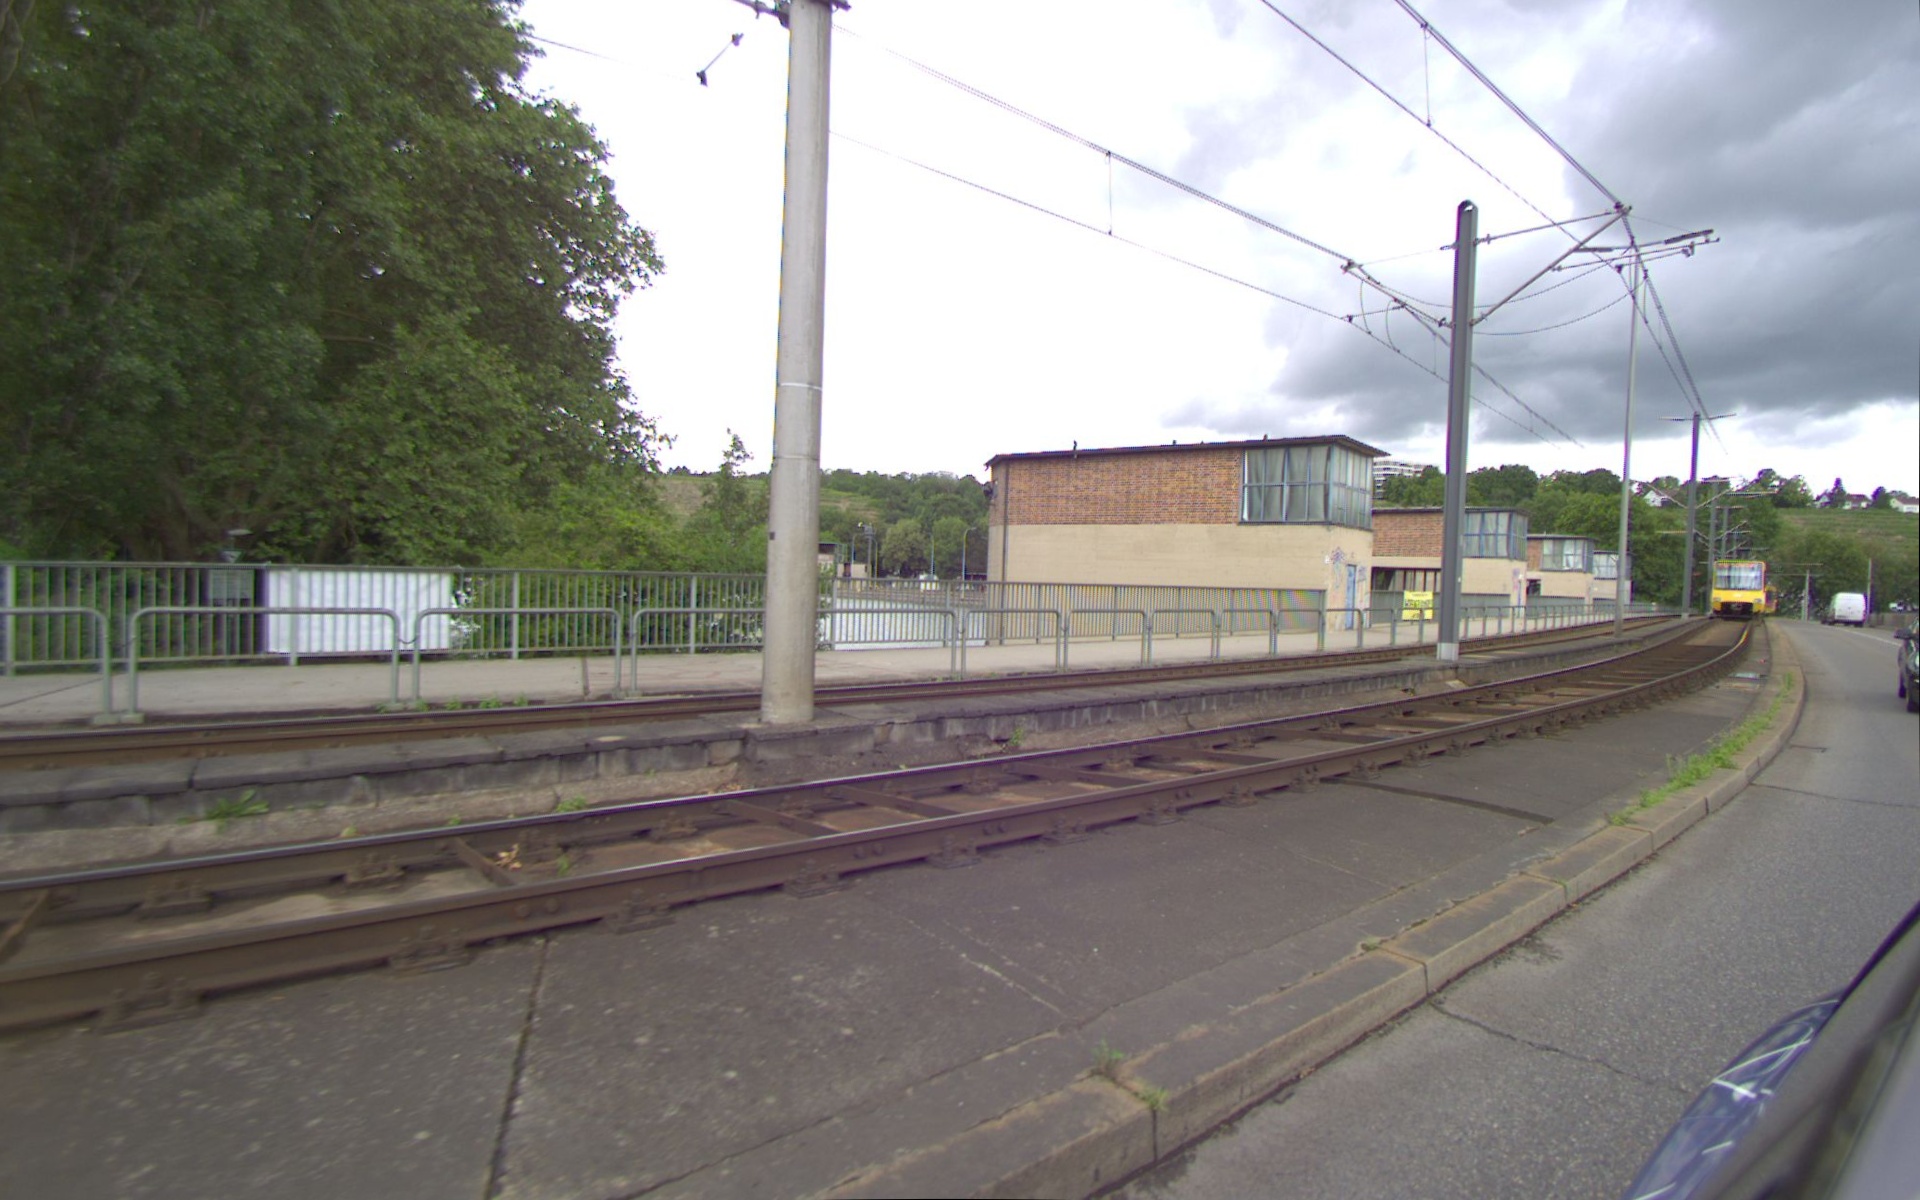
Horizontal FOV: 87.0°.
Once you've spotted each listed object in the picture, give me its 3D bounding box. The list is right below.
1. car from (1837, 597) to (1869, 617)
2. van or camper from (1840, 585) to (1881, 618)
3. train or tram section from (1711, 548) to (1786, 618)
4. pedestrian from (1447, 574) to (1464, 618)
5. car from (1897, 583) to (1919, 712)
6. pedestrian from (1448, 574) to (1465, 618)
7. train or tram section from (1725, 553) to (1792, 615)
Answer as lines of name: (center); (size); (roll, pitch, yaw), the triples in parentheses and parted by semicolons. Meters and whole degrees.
car: (79.225, 0.591, 89.817); (1.991, 1.593, 3.942); (1, 2, 40)
van or camper: (71.287, 0.093, 80.178); (2.146, 2.506, 4.645); (1, 0, 38)
train or tram section: (48.873, -1.038, 62.595); (3.021, 3.967, 9.301); (2, 2, 41)
pedestrian: (19.015, -0.157, 38.855); (0.508, 1.686, 0.348); (2, 1, 35)
car: (14.115, 0.654, 13.745); (1.855, 1.642, 3.940); (3, 1, 41)
pedestrian: (19.231, -0.151, 39.172); (0.508, 1.686, 0.348); (2, 1, 35)
train or tram section: (54.998, -1.094, 69.615); (3.021, 3.967, 9.301); (2, 2, 41)
